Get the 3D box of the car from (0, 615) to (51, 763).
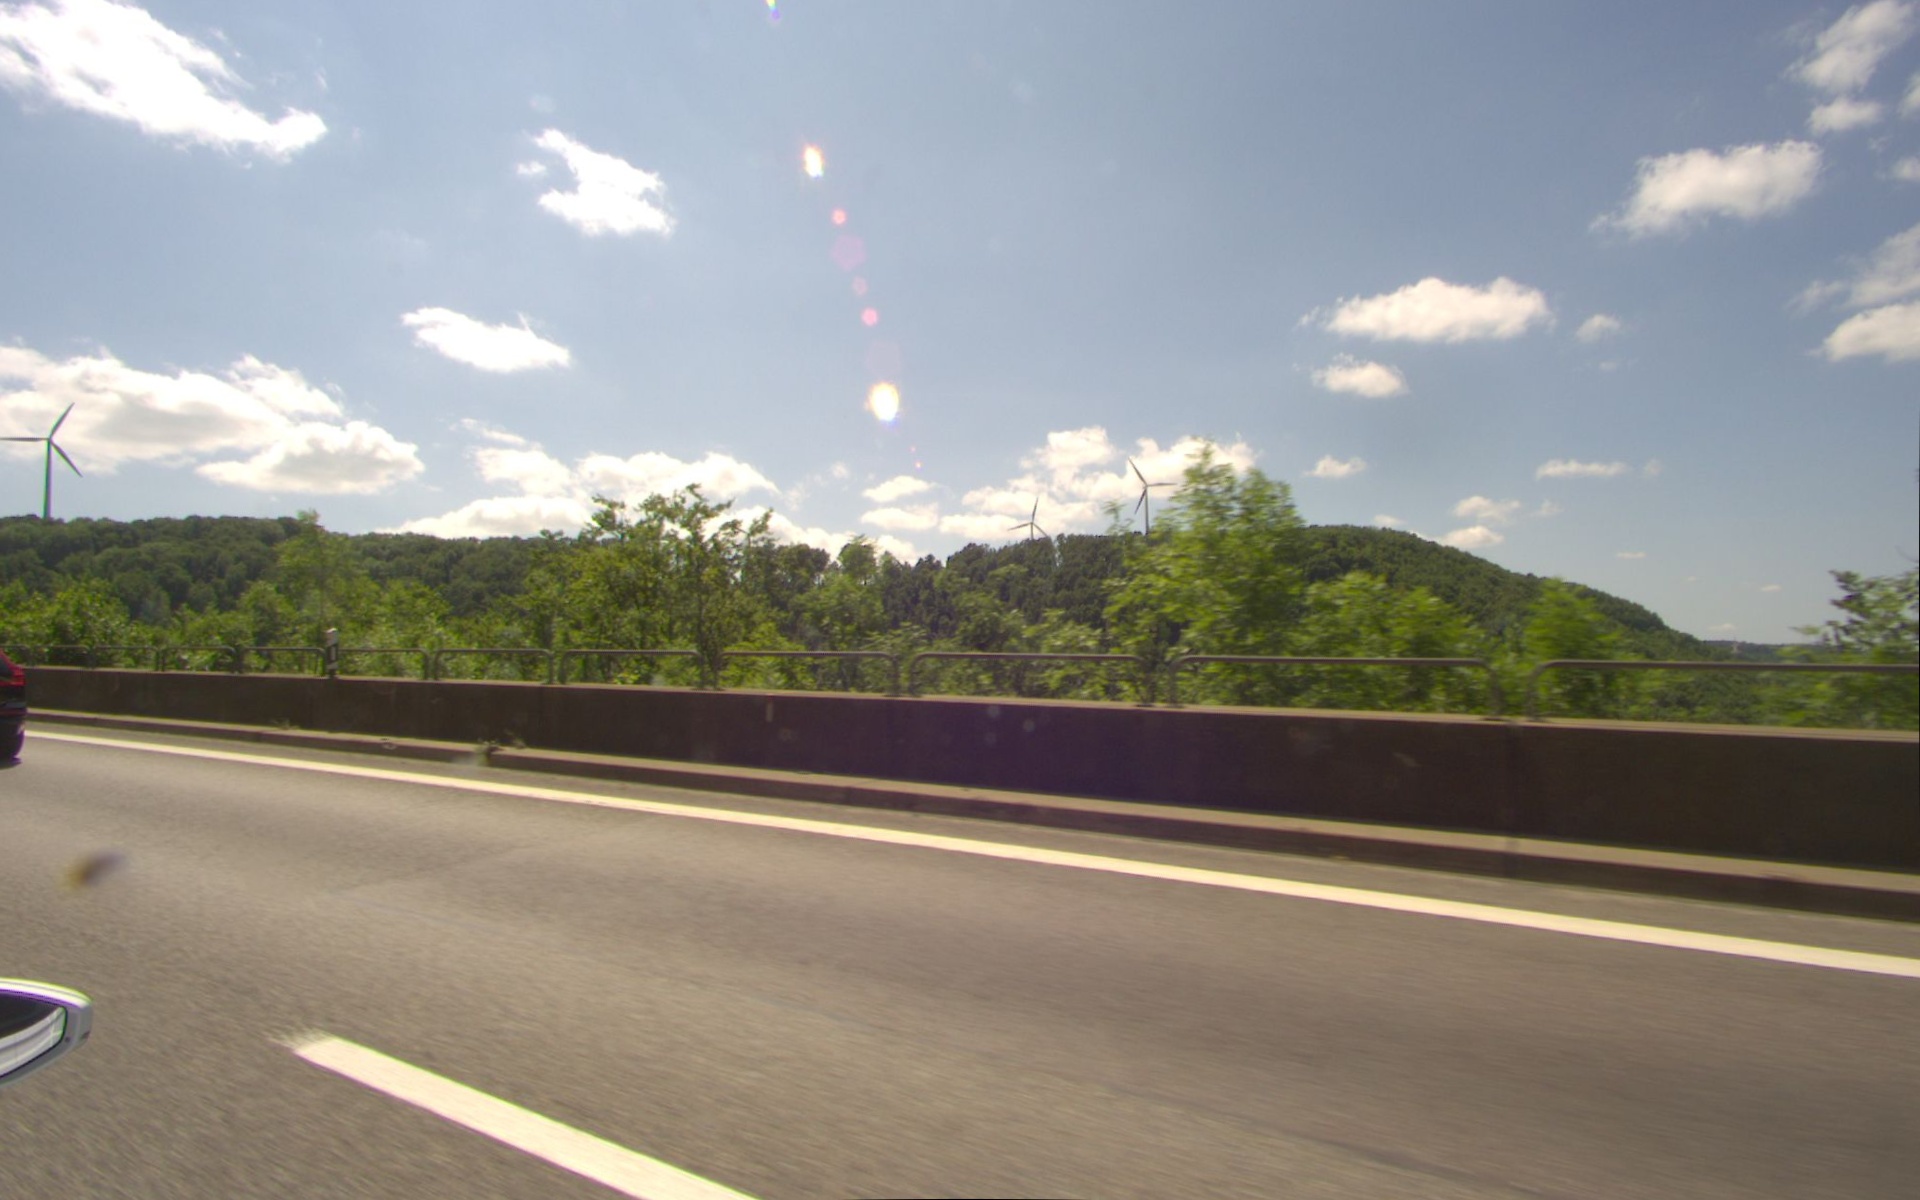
[{"bbox_3d":[-12.937,1.010,11.894,4.592,1.654,1.833,-1,-2,30],"label":"car"}]
